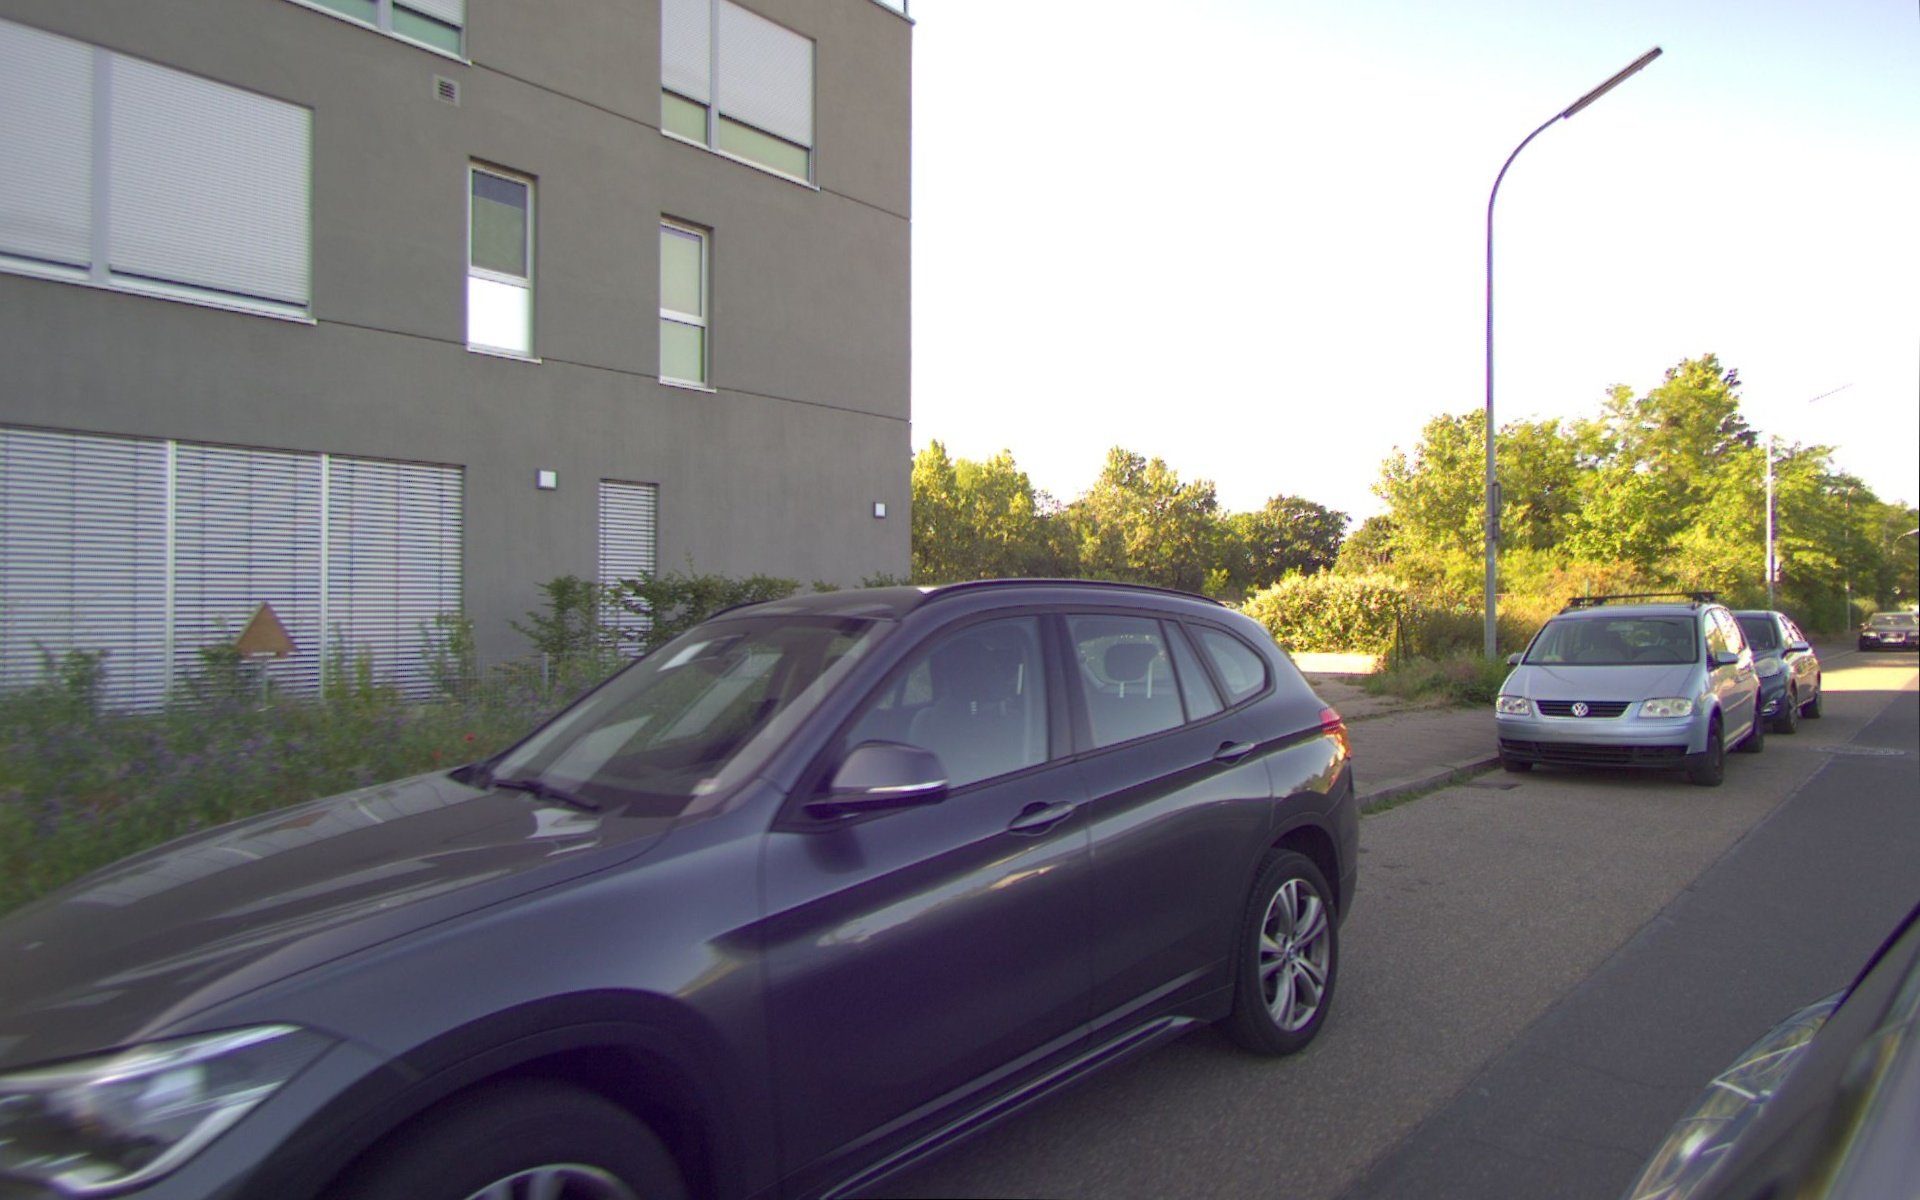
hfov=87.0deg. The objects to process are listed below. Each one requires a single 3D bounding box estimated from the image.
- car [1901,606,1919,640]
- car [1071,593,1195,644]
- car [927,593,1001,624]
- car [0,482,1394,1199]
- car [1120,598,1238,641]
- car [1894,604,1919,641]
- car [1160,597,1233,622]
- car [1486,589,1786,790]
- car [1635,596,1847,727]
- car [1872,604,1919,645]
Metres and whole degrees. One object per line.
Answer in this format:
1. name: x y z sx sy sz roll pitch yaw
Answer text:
1. car: 44.437 1.000 46.426 3.776 1.506 1.655 0 -3 -45
2. car: 5.746 0.582 33.897 1.725 1.608 3.913 0 0 -41
3. car: 0.166 0.414 51.755 1.659 1.484 3.884 0 1 -41
4. car: -0.412 0.709 3.138 4.109 1.646 1.742 0 -2 -44
5. car: 7.658 0.646 35.663 1.659 1.457 3.884 0 0 -41
6. car: 40.506 0.895 42.479 4.580 1.463 1.655 0 -3 -45
7. car: 13.846 0.524 59.319 1.807 1.416 3.884 0 0 -41
8. car: 6.984 0.762 10.277 4.110 1.629 1.677 0 -3 -45
9. car: 10.745 0.761 13.837 3.835 1.546 1.624 0 -3 -43
10. car: 35.894 0.887 38.288 1.754 1.432 4.580 -4 -3 45
